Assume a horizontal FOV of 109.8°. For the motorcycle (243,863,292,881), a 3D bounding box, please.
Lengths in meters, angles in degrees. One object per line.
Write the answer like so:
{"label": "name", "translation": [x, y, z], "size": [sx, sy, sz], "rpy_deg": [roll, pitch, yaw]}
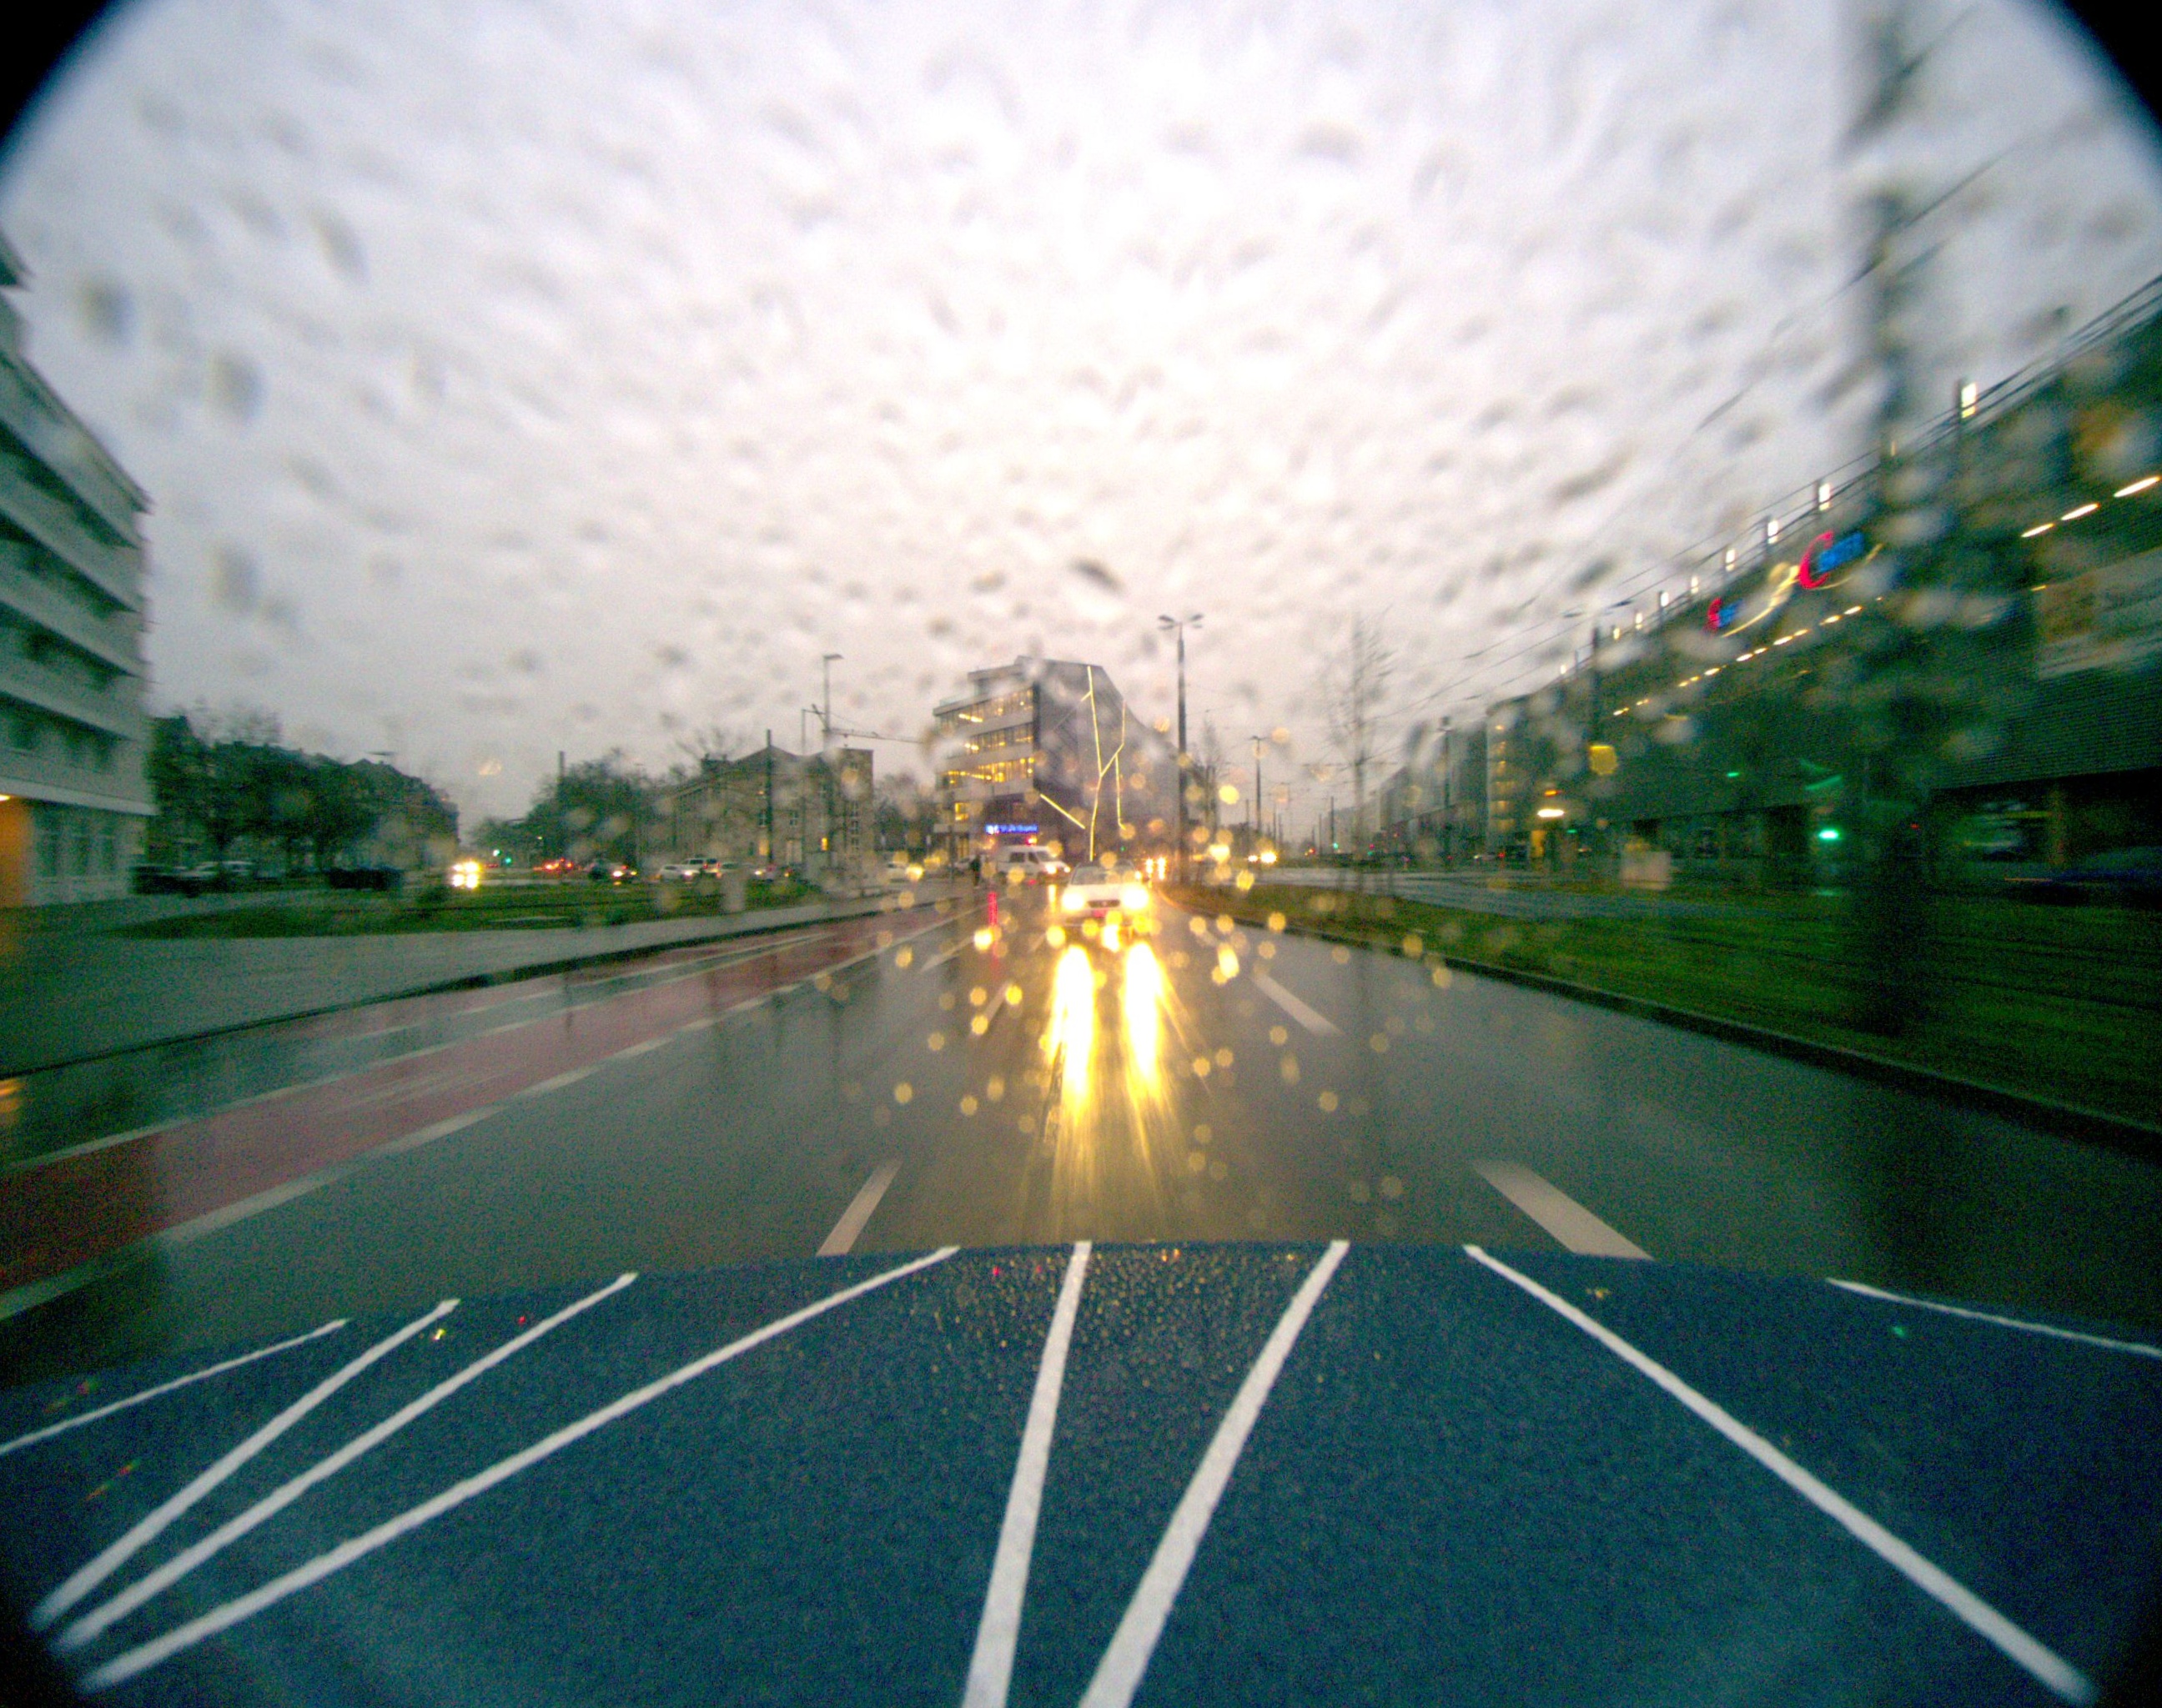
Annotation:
{"label": "motorcycle", "translation": [-60.866, 1.354, 56.850], "size": [0.882, 1.337, 2.364], "rpy_deg": [1, -2, 35]}

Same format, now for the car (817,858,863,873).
{"label": "car", "translation": [-24.721, 1.190, 77.865], "size": [4.414, 1.436, 1.631], "rpy_deg": [-1, 0, 19]}

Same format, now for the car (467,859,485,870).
{"label": "car", "translation": [-81.823, 1.436, 102.812], "size": [1.756, 1.362, 3.605], "rpy_deg": [-1, 0, -37]}

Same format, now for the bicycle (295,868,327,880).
{"label": "bicycle", "translation": [-62.891, 1.655, 62.052], "size": [1.799, 0.926, 0.444], "rpy_deg": [2, -1, -41]}

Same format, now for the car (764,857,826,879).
{"label": "car", "translation": [-21.875, 1.083, 58.202], "size": [4.002, 1.590, 1.903], "rpy_deg": [-1, 0, 3]}

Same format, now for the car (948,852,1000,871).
{"label": "car", "translation": [-10.423, 0.716, 74.253], "size": [4.601, 1.709, 1.931], "rpy_deg": [-1, 0, 14]}

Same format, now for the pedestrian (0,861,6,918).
{"label": "pedestrian", "translation": [-31.606, 1.027, 21.782], "size": [0.631, 1.623, 0.723], "rpy_deg": [0, 1, 20]}

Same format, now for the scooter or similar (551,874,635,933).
{"label": "scooter or similar", "translation": [-11.112, 1.098, 17.349], "size": [0.669, 1.220, 1.558], "rpy_deg": [0, 2, 12]}

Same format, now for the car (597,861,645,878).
{"label": "car", "translation": [-41.298, 1.388, 68.148], "size": [4.159, 1.466, 1.881], "rpy_deg": [-1, 1, 31]}

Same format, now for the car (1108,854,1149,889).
{"label": "car", "translation": [2.169, 0.747, 34.306], "size": [1.722, 1.380, 3.822], "rpy_deg": [-1, 1, 4]}

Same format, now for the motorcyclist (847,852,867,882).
{"label": "motorcyclist", "translation": [-14.331, 0.845, 48.612], "size": [0.919, 1.871, 0.888], "rpy_deg": [0, 1, 42]}

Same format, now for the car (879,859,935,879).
{"label": "car", "translation": [-13.690, 1.159, 59.819], "size": [3.911, 1.455, 1.765], "rpy_deg": [-1, 2, 12]}

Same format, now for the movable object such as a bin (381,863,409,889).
{"label": "movable object such as a bin", "translation": [-40.896, 1.314, 45.313], "size": [1.055, 1.501, 1.249], "rpy_deg": [-1, 1, -34]}

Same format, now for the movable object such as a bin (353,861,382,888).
{"label": "movable object such as a bin", "translation": [-41.880, 1.198, 44.614], "size": [1.055, 1.566, 1.137], "rpy_deg": [-1, 1, -34]}

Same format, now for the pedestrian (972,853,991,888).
{"label": "pedestrian", "translation": [-5.345, 0.877, 40.885], "size": [0.777, 1.867, 0.633], "rpy_deg": [-1, 1, -32]}

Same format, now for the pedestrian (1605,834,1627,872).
{"label": "pedestrian", "translation": [40.791, -0.074, 57.925], "size": [1.111, 2.909, 0.967], "rpy_deg": [0, 2, 17]}

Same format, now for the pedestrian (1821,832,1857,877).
{"label": "pedestrian", "translation": [41.726, 0.026, 41.837], "size": [0.964, 2.425, 1.115], "rpy_deg": [0, 2, 17]}

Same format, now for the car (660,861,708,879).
{"label": "car", "translation": [-34.014, 1.359, 65.109], "size": [3.339, 1.422, 1.693], "rpy_deg": [0, 1, 18]}

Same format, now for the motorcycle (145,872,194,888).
{"label": "motorcycle", "translation": [-54.630, 1.567, 45.544], "size": [0.511, 0.926, 1.799], "rpy_deg": [0, -1, 21]}

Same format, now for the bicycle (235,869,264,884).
{"label": "bicycle", "translation": [-58.629, 1.579, 53.583], "size": [0.537, 1.012, 1.905], "rpy_deg": [1, -1, -19]}

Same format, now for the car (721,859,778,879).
{"label": "car", "translation": [-27.641, 1.251, 63.284], "size": [4.214, 1.590, 1.678], "rpy_deg": [-1, 0, 16]}

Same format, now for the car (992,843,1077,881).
{"label": "car", "translation": [-3.152, 0.491, 50.706], "size": [5.653, 2.449, 2.248], "rpy_deg": [0, 1, 40]}

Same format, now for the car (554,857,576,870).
{"label": "car", "translation": [-79.068, 1.393, 116.390], "size": [1.908, 1.861, 4.948], "rpy_deg": [-4, 3, -44]}

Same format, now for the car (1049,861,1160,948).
{"label": "car", "translation": [0.620, 0.926, 15.572], "size": [1.787, 1.370, 4.224], "rpy_deg": [-2, 1, 8]}

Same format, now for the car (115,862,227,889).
{"label": "car", "translation": [-57.421, 1.311, 48.048], "size": [1.738, 1.560, 4.163], "rpy_deg": [0, 0, 20]}

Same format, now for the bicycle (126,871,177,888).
{"label": "bicycle", "translation": [-53.816, 1.476, 44.015], "size": [0.445, 0.926, 1.799], "rpy_deg": [0, -1, 27]}

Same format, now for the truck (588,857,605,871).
{"label": "truck", "translation": [-74.086, 1.505, 116.169], "size": [1.842, 2.032, 3.989], "rpy_deg": [-1, 0, -36]}

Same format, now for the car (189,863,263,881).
{"label": "car", "translation": [-68.956, 1.424, 61.339], "size": [1.517, 1.391, 3.694], "rpy_deg": [0, 0, 22]}

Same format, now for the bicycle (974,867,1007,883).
{"label": "bicycle", "translation": [-5.487, 1.279, 46.123], "size": [1.862, 0.968, 0.658], "rpy_deg": [-1, 0, 23]}

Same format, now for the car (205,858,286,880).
{"label": "car", "translation": [-72.581, 1.295, 66.052], "size": [1.777, 1.757, 4.352], "rpy_deg": [0, 0, 21]}

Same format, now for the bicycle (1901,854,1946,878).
{"label": "bicycle", "translation": [42.661, 0.605, 38.500], "size": [0.476, 1.115, 2.093], "rpy_deg": [0, 2, 16]}

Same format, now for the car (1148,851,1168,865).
{"label": "car", "translation": [9.617, 0.449, 94.853], "size": [1.830, 1.652, 4.005], "rpy_deg": [-1, 0, 16]}

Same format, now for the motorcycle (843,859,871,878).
{"label": "motorcycle", "translation": [-14.362, 0.917, 48.675], "size": [2.402, 1.176, 0.485], "rpy_deg": [0, 1, 42]}

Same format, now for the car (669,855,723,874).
{"label": "car", "translation": [-41.503, 1.152, 81.853], "size": [5.648, 2.047, 1.956], "rpy_deg": [-1, 0, 22]}

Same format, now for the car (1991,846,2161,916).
{"label": "car", "translation": [23.363, 0.538, 16.894], "size": [1.818, 1.433, 3.958], "rpy_deg": [-1, 0, 8]}

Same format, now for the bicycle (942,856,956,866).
{"label": "bicycle", "translation": [-16.048, 0.861, 92.451], "size": [1.500, 1.121, 0.527], "rpy_deg": [-1, 1, -37]}

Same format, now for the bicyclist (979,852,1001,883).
{"label": "bicyclist", "translation": [-5.532, 0.801, 46.178], "size": [0.987, 1.879, 0.794], "rpy_deg": [0, 1, 23]}
